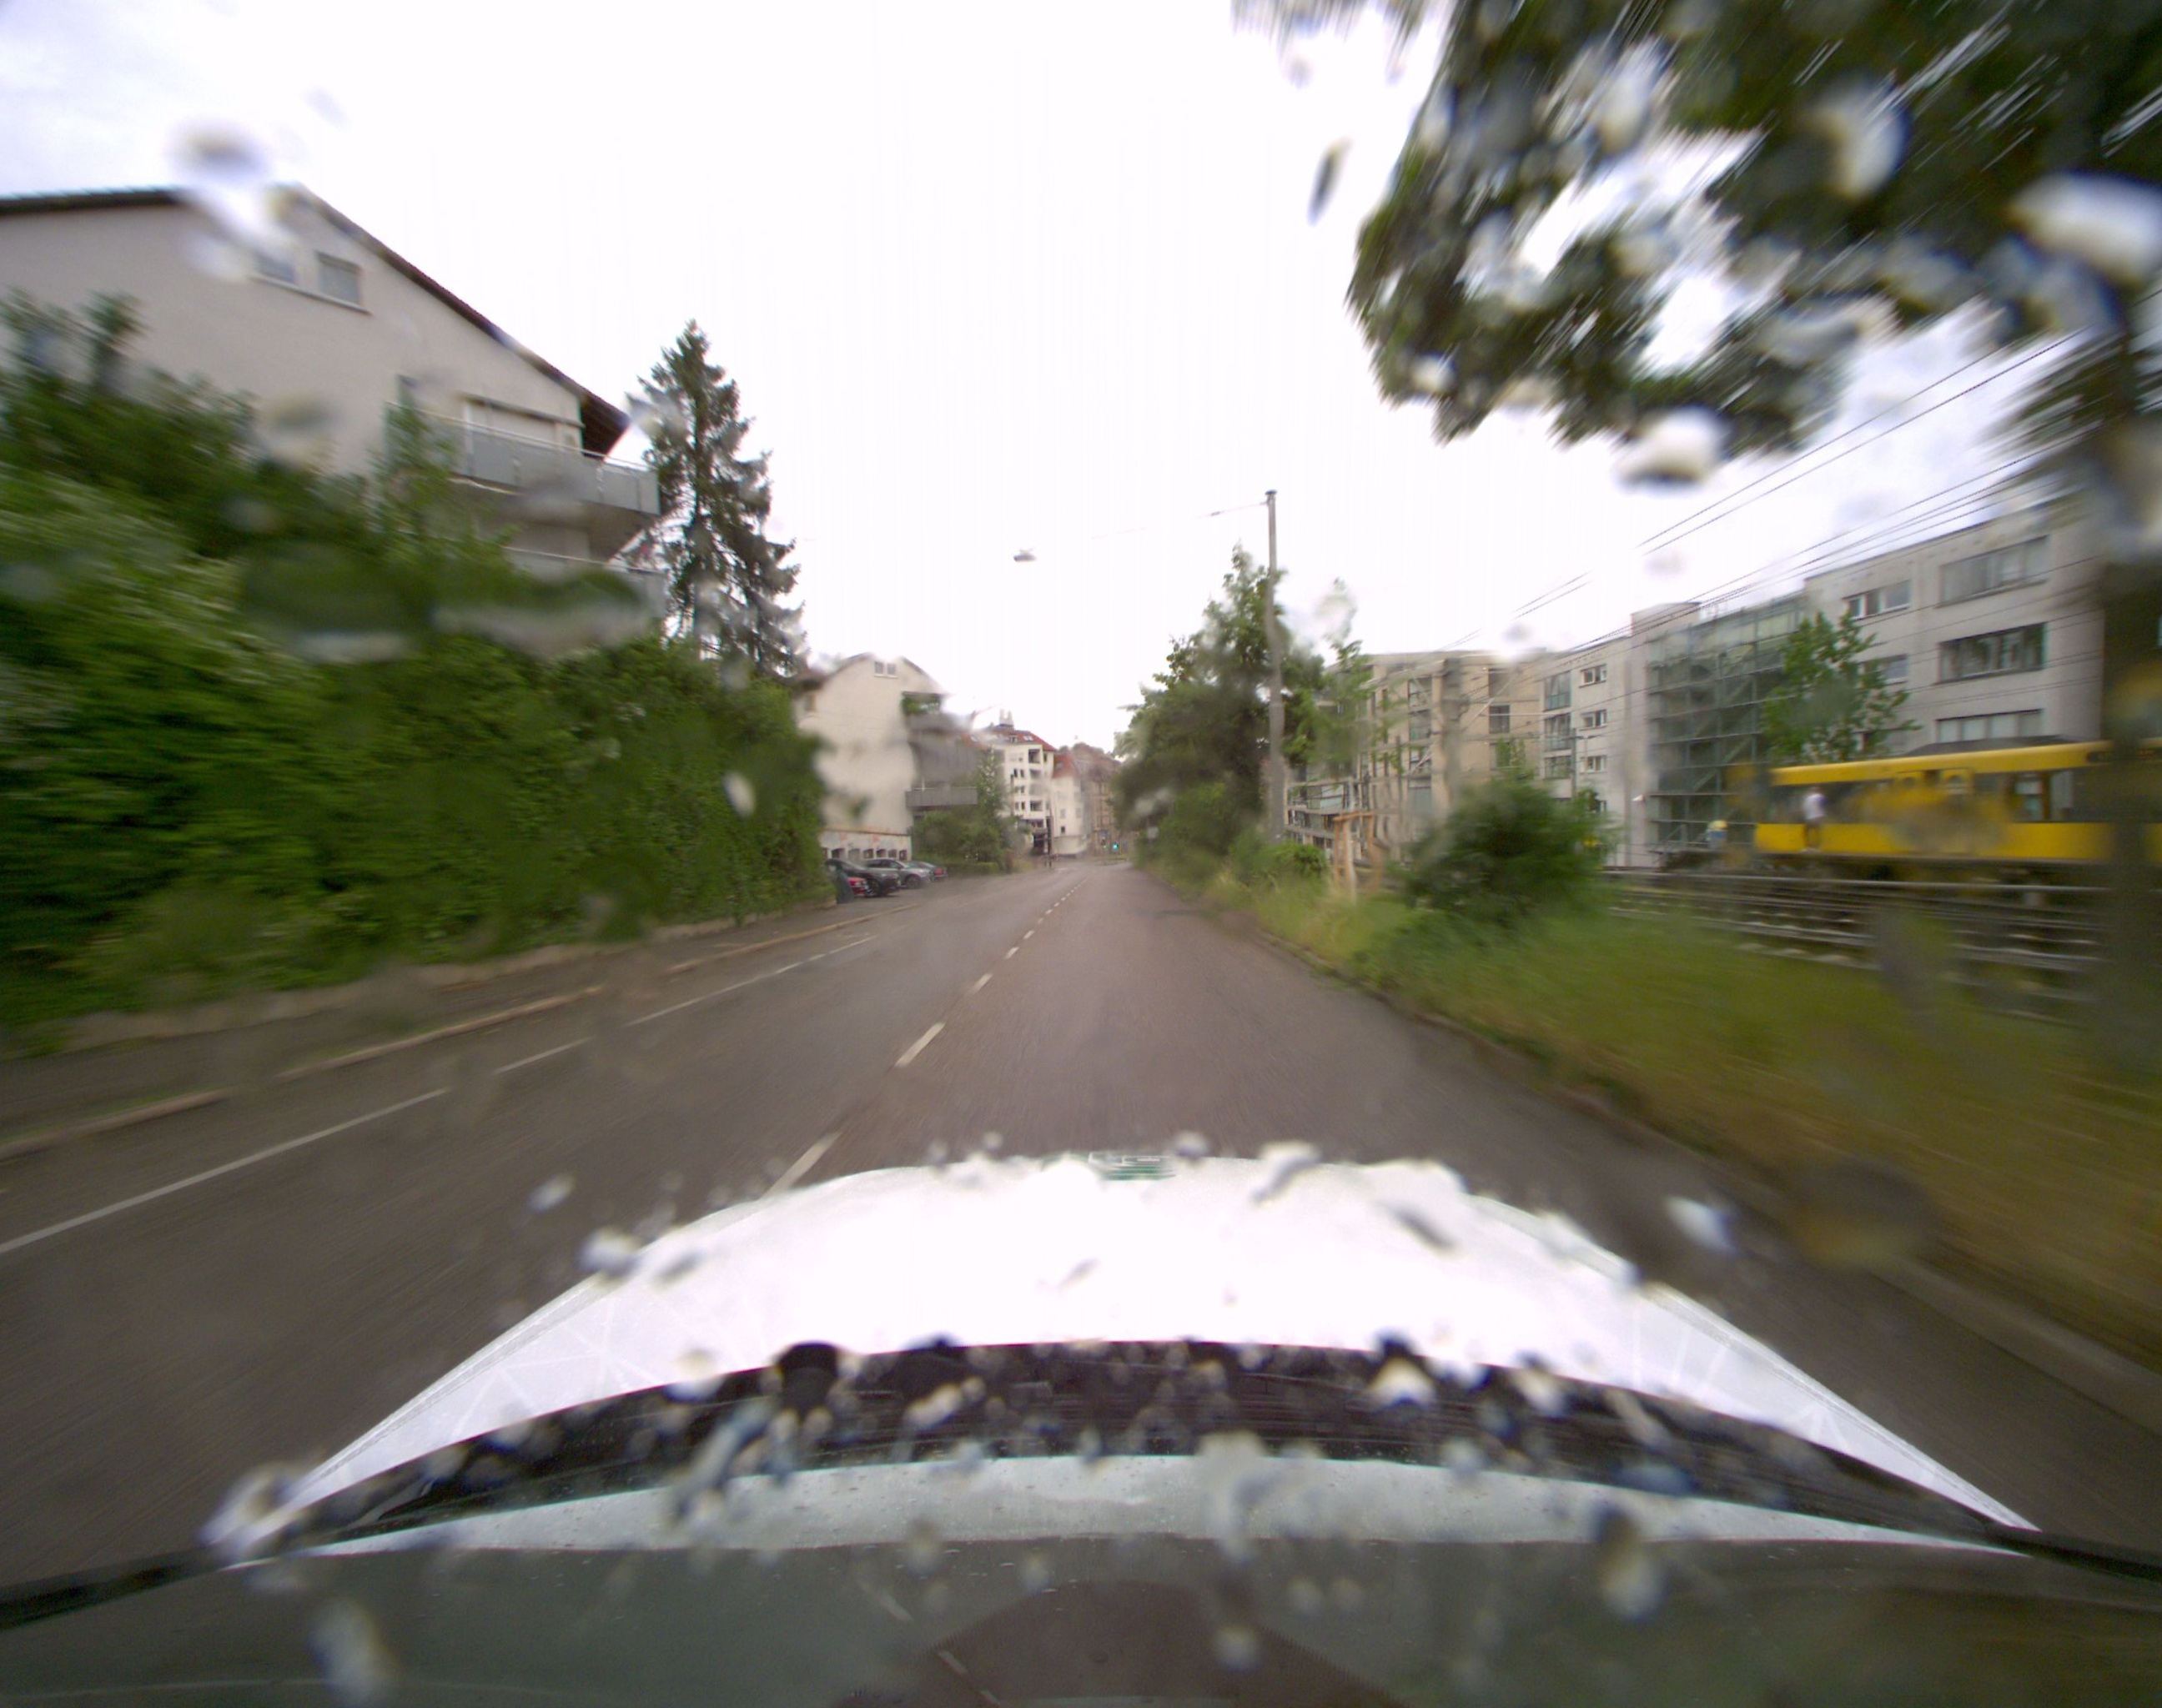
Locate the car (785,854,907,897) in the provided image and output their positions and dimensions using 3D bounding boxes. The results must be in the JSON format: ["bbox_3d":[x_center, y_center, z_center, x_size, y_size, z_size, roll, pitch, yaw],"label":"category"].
[{"bbox_3d":[-9.597,0.862,33.507,4.433,1.602,1.815,-1,1,1],"label":"car"}]

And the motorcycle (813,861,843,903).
[{"bbox_3d":[-8.483,0.927,27.426,0.616,1.320,2.313,-1,-1,-9],"label":"motorcycle"}]

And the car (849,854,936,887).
[{"bbox_3d":[-9.519,0.834,41.413,3.977,1.559,1.878,-1,-1,-3],"label":"car"}]

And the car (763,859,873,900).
[{"bbox_3d":[-9.862,0.931,30.777,3.625,1.405,1.713,-1,-1,-5],"label":"car"}]

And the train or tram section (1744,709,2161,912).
[{"bbox_3d":[22.734,-0.928,16.805,3.318,3.946,18.824,-2,2,2],"label":"train or tram section"}]

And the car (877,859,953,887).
[{"bbox_3d":[-8.902,0.995,43.742,3.616,1.407,1.785,-2,-1,3],"label":"car"}]

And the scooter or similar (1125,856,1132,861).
[{"bbox_3d":[6.868,0.642,117.205,0.480,0.761,1.338,-2,0,30],"label":"scooter or similar"}]

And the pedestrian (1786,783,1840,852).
[{"bbox_3d":[20.768,-1.025,23.114,0.719,1.880,0.818,-2,-1,2],"label":"pedestrian"}]
